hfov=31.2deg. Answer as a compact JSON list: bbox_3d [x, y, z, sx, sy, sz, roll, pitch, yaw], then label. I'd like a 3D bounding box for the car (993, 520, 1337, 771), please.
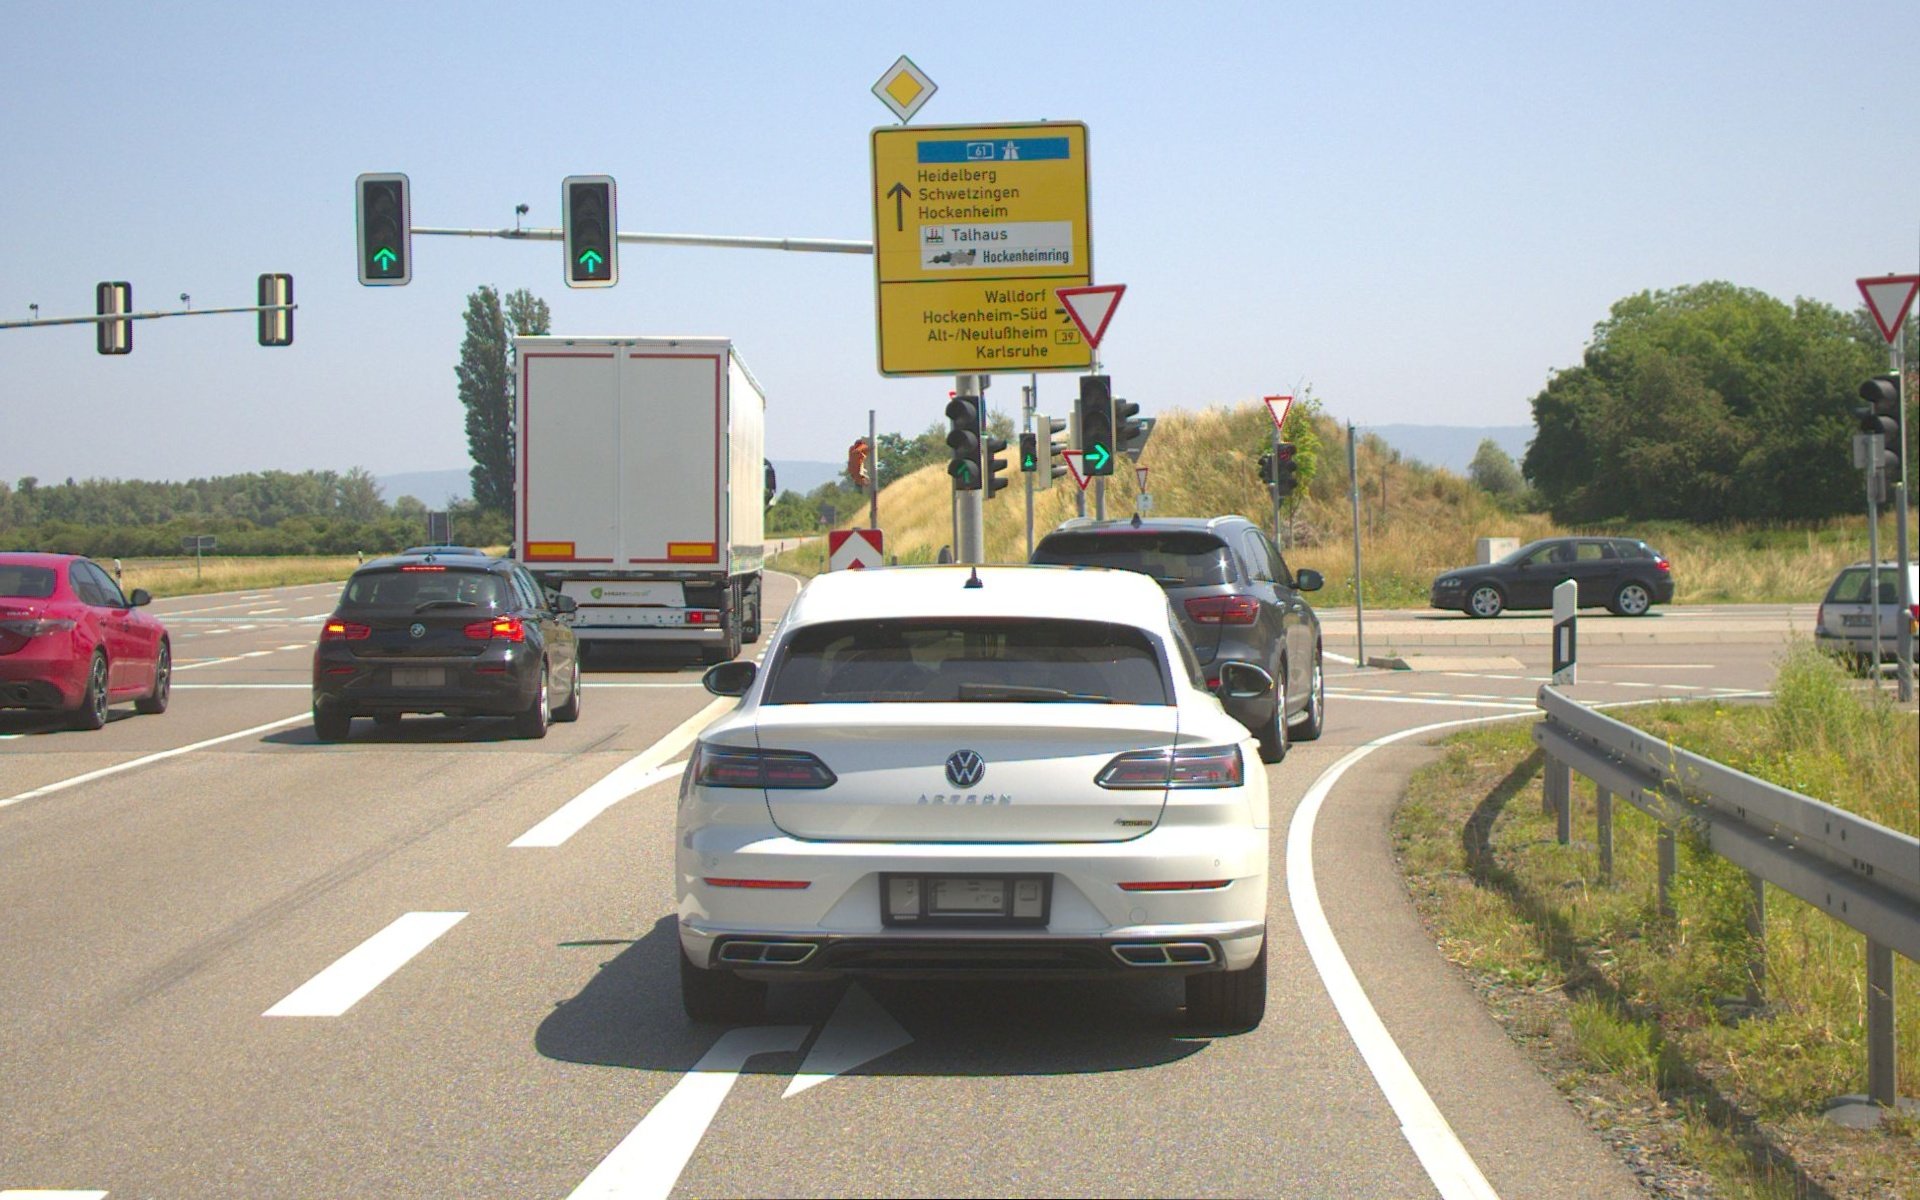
[{"bbox_3d":[1.554,0.264,24.418,1.935,1.611,4.376,0,1,10],"label":"car"}]

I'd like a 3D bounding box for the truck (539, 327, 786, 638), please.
[{"bbox_3d":[-4.516,-1.774,53.528,3.381,4.527,6.373,0,1,-1],"label":"truck"}]

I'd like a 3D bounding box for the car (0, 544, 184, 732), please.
[{"bbox_3d":[-7.888,0.261,29.100,1.749,1.416,4.566,1,1,-2],"label":"car"}]

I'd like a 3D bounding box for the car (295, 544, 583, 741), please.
[{"bbox_3d":[-4.128,0.285,27.857,1.784,1.426,4.381,1,1,-2],"label":"car"}]

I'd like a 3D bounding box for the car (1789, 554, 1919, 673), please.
[{"bbox_3d":[12.393,0.136,42.941,4.080,1.424,1.805,0,1,-37],"label":"car"}]

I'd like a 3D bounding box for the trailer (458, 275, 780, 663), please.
[{"bbox_3d":[-4.341,-1.648,46.826,3.381,4.527,12.873,0,1,-1],"label":"trailer"}]

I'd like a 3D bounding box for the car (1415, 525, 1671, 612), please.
[{"bbox_3d":[10.294,-0.568,60.926,4.260,1.364,1.776,-1,2,3],"label":"car"}]

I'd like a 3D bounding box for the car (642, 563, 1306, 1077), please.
[{"bbox_3d":[0.016,0.589,11.881,1.848,1.428,4.608,0,1,-1],"label":"car"}]

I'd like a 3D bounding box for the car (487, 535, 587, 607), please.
[{"bbox_3d":[-9.091,-0.634,74.086,1.809,1.488,4.022,0,1,-2],"label":"car"}]
